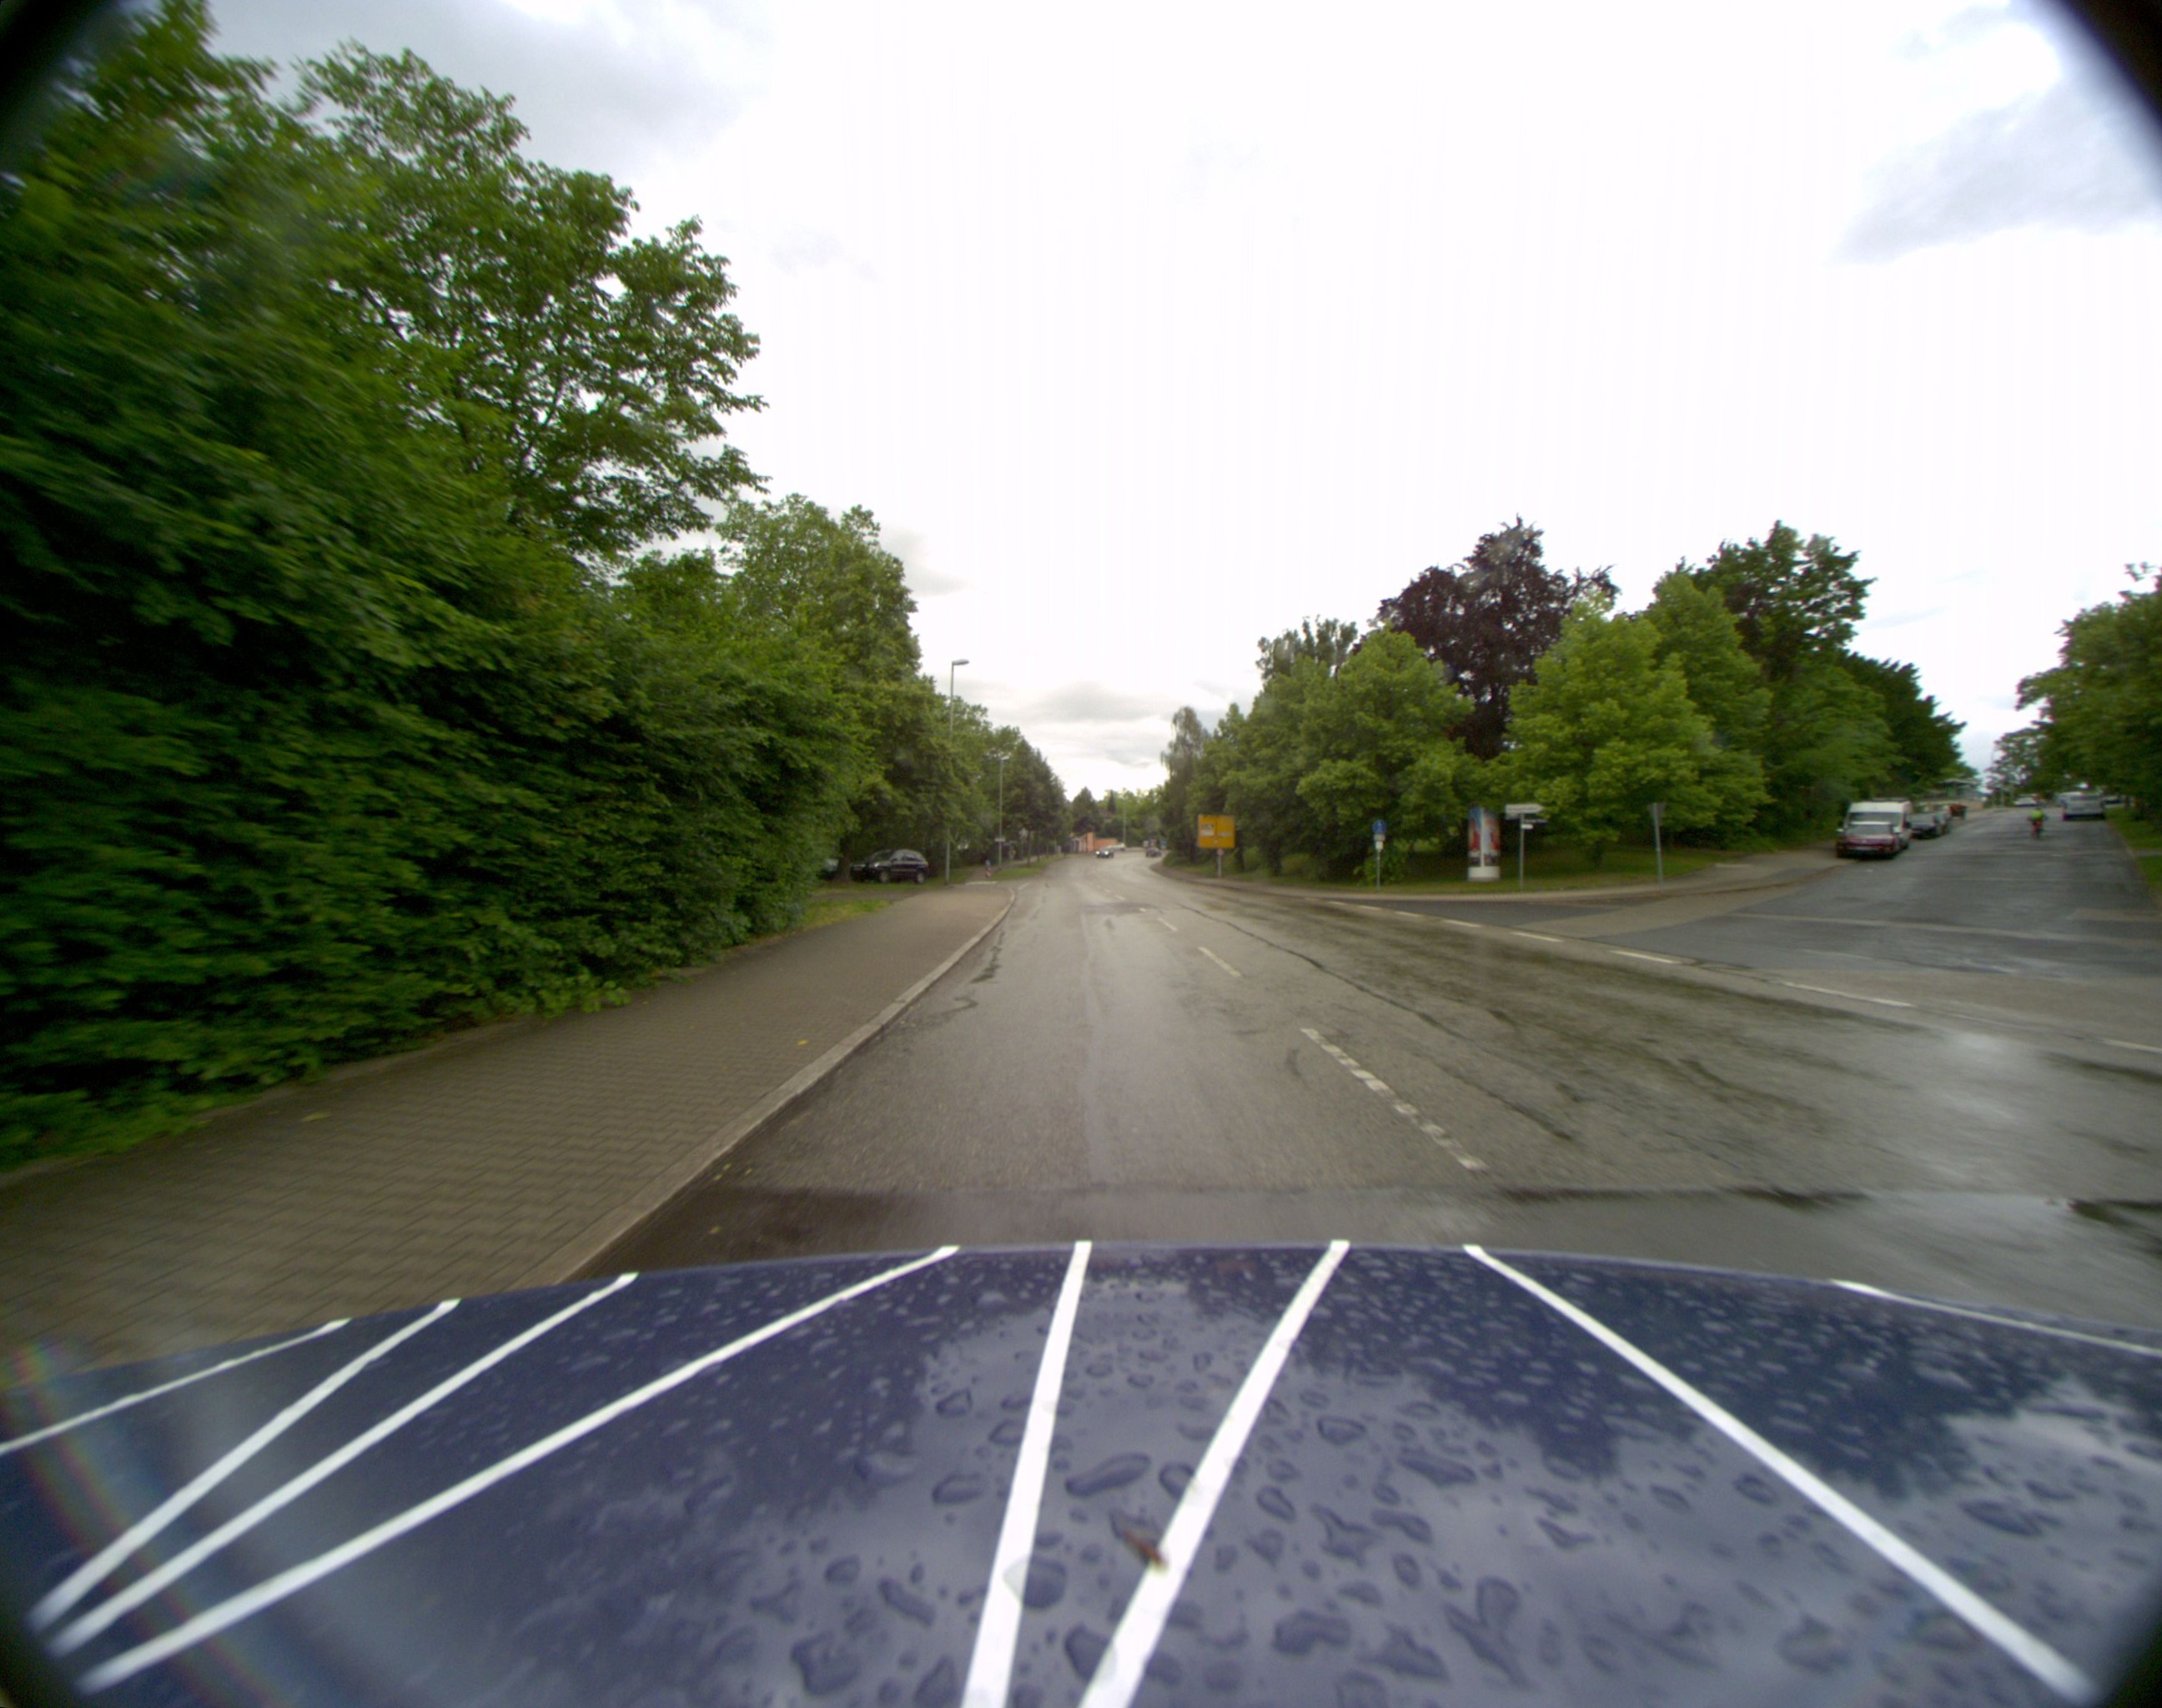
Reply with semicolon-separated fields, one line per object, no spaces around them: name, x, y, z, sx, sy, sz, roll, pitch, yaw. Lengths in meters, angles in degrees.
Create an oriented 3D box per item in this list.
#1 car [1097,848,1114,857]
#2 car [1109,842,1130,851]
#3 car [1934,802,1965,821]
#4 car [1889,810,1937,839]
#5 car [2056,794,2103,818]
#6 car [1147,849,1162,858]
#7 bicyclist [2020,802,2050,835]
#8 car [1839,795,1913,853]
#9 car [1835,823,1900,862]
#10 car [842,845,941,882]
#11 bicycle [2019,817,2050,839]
car;3.811;-0.240;118.408;1.860;1.406;4.390;0;0;13
car;7.680;-1.546;152.290;3.864;1.557;1.728;3;2;11
car;82.392;-3.993;72.061;4.007;1.658;1.822;-2;1;-39
car;51.454;-1.807;47.043;4.008;1.658;1.822;-2;1;-45
car;77.620;-3.751;59.027;4.210;1.660;1.871;-3;1;-33
car;12.195;-0.077;125.875;1.723;1.375;4.145;2;1;18
bicyclist;51.226;-1.910;40.821;1.288;1.746;0.852;-2;3;-43
car;40.025;-1.470;38.208;5.681;2.684;2.151;-2;1;-39
car;35.886;-0.534;34.691;4.008;1.658;1.972;-2;1;-44
car;-9.155;0.524;37.158;1.949;1.679;4.914;-1;-2;27
bicycle;51.315;-1.413;40.926;2.042;1.149;0.852;-1;3;-43
